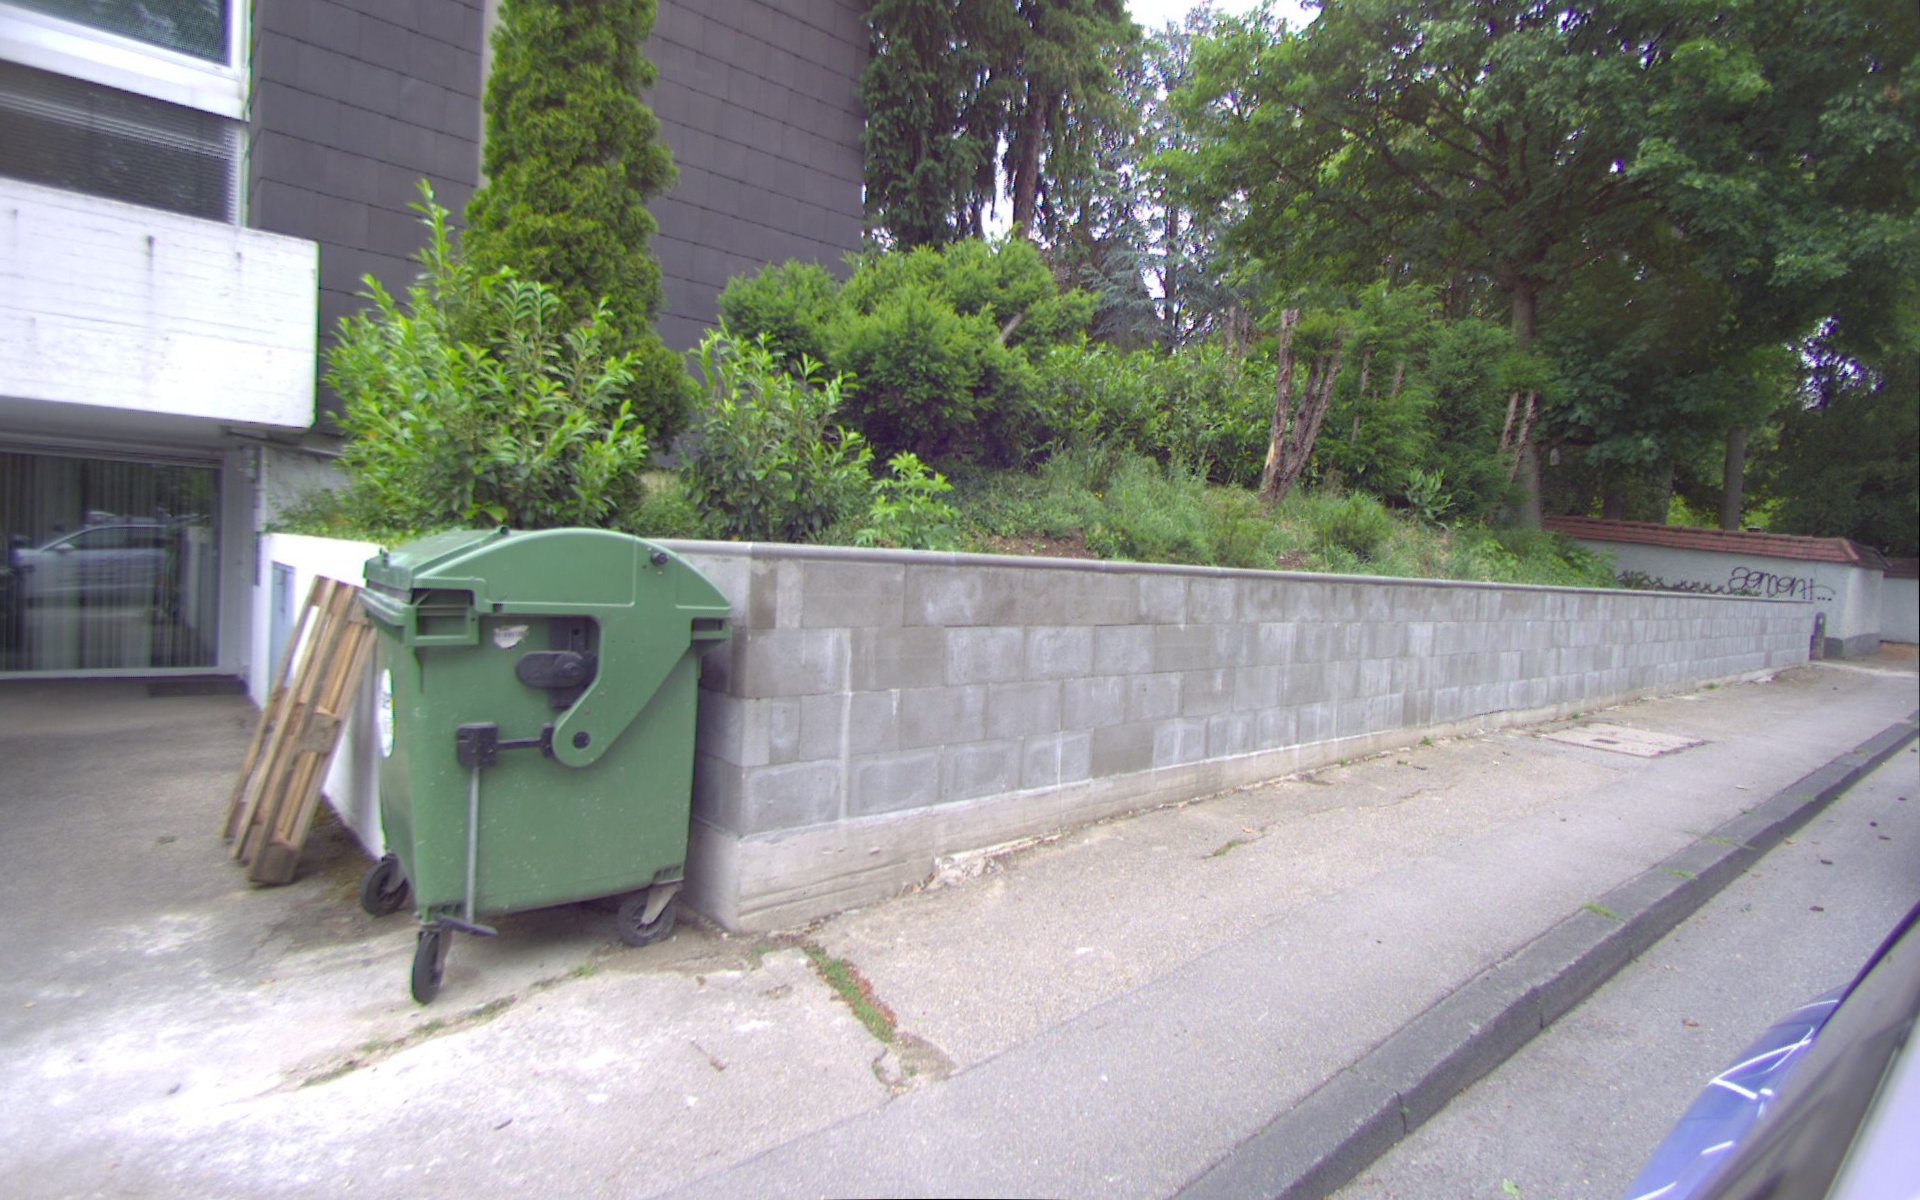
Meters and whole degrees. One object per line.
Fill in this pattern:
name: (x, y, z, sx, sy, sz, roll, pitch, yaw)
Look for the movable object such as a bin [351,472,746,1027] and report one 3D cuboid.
movable object such as a bin: (-1.459, 0.395, 3.537, 1.014, 1.549, 1.037, 0, 2, -39)
